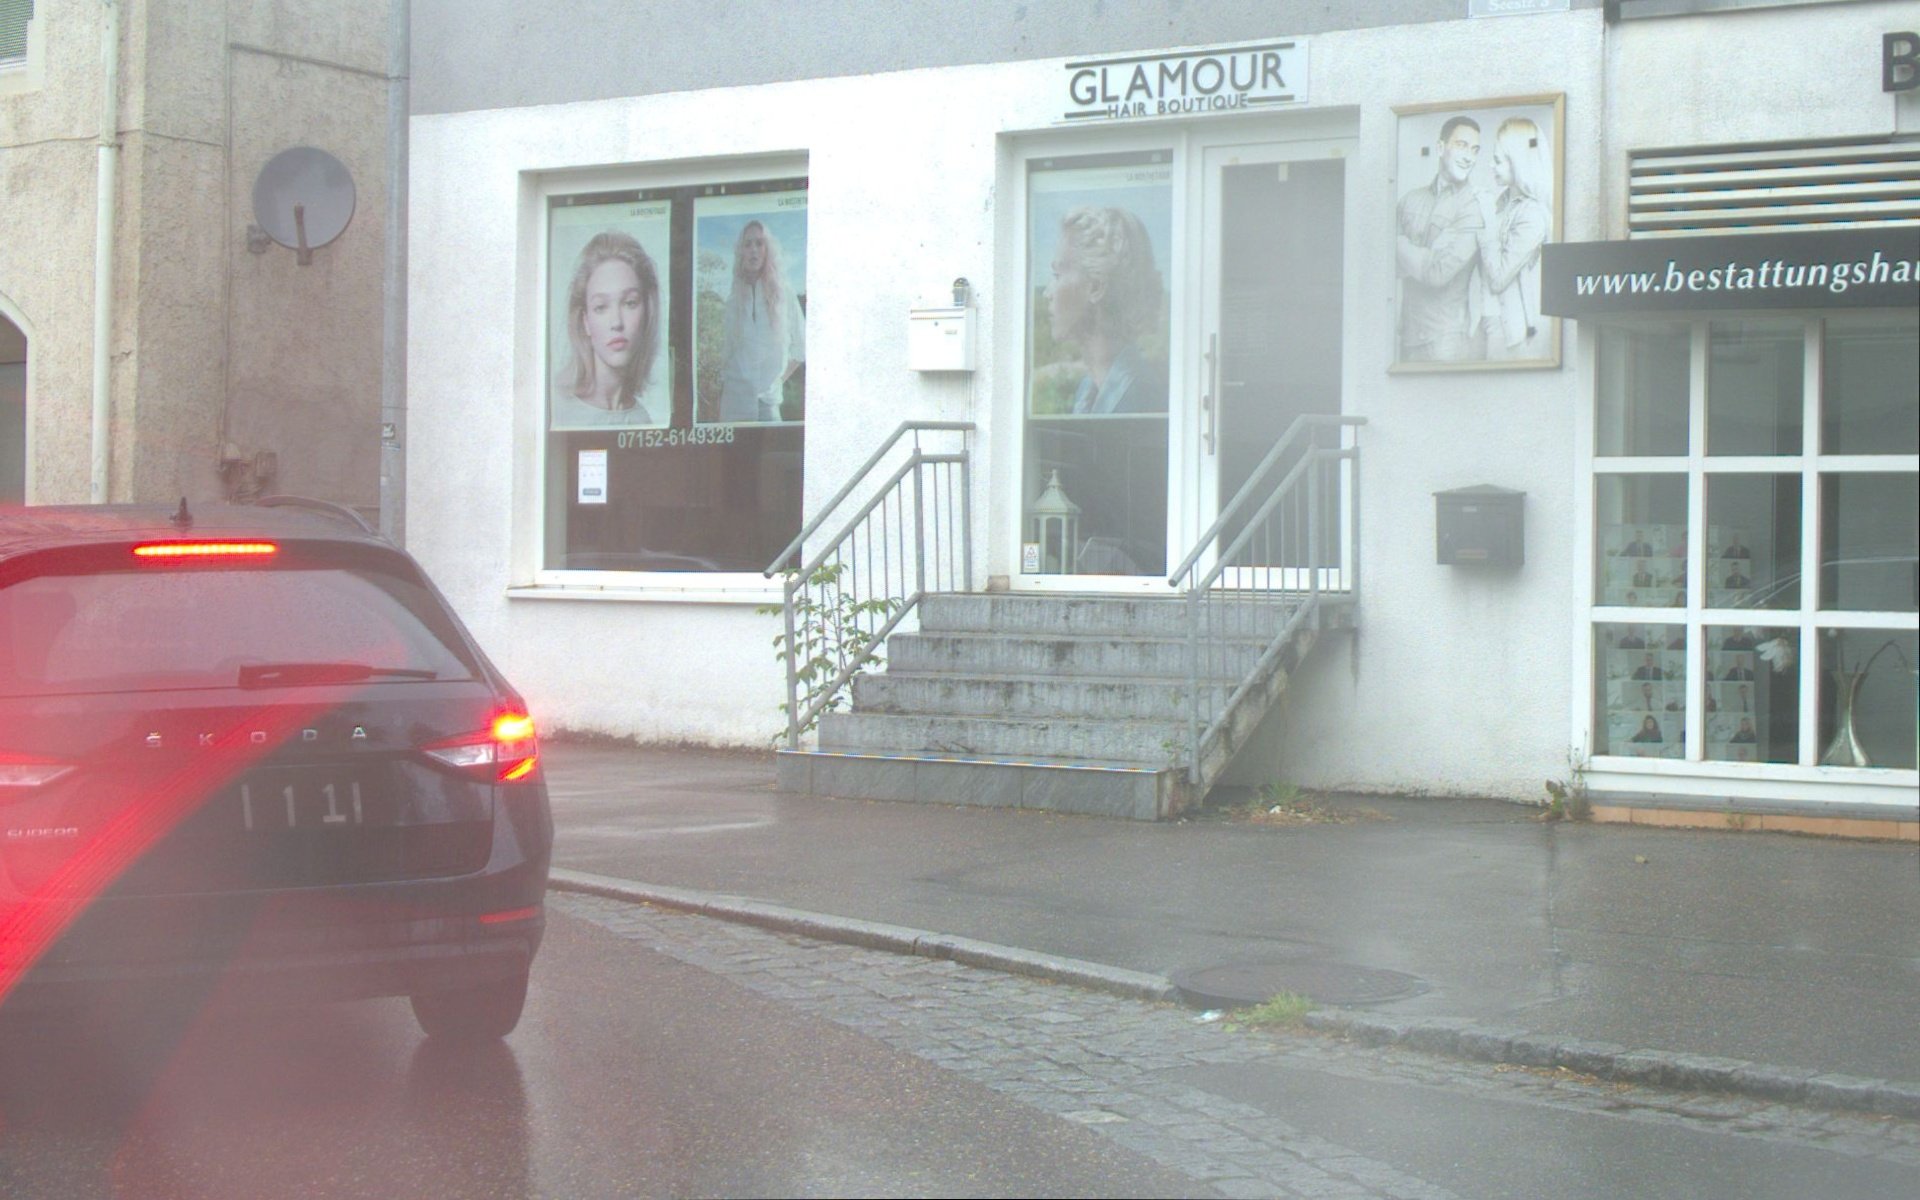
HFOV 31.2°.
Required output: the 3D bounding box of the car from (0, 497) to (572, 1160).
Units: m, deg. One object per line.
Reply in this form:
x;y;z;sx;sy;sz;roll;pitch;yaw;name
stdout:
-2.565;0.461;9.985;1.732;1.445;4.243;-1;3;-23;car
